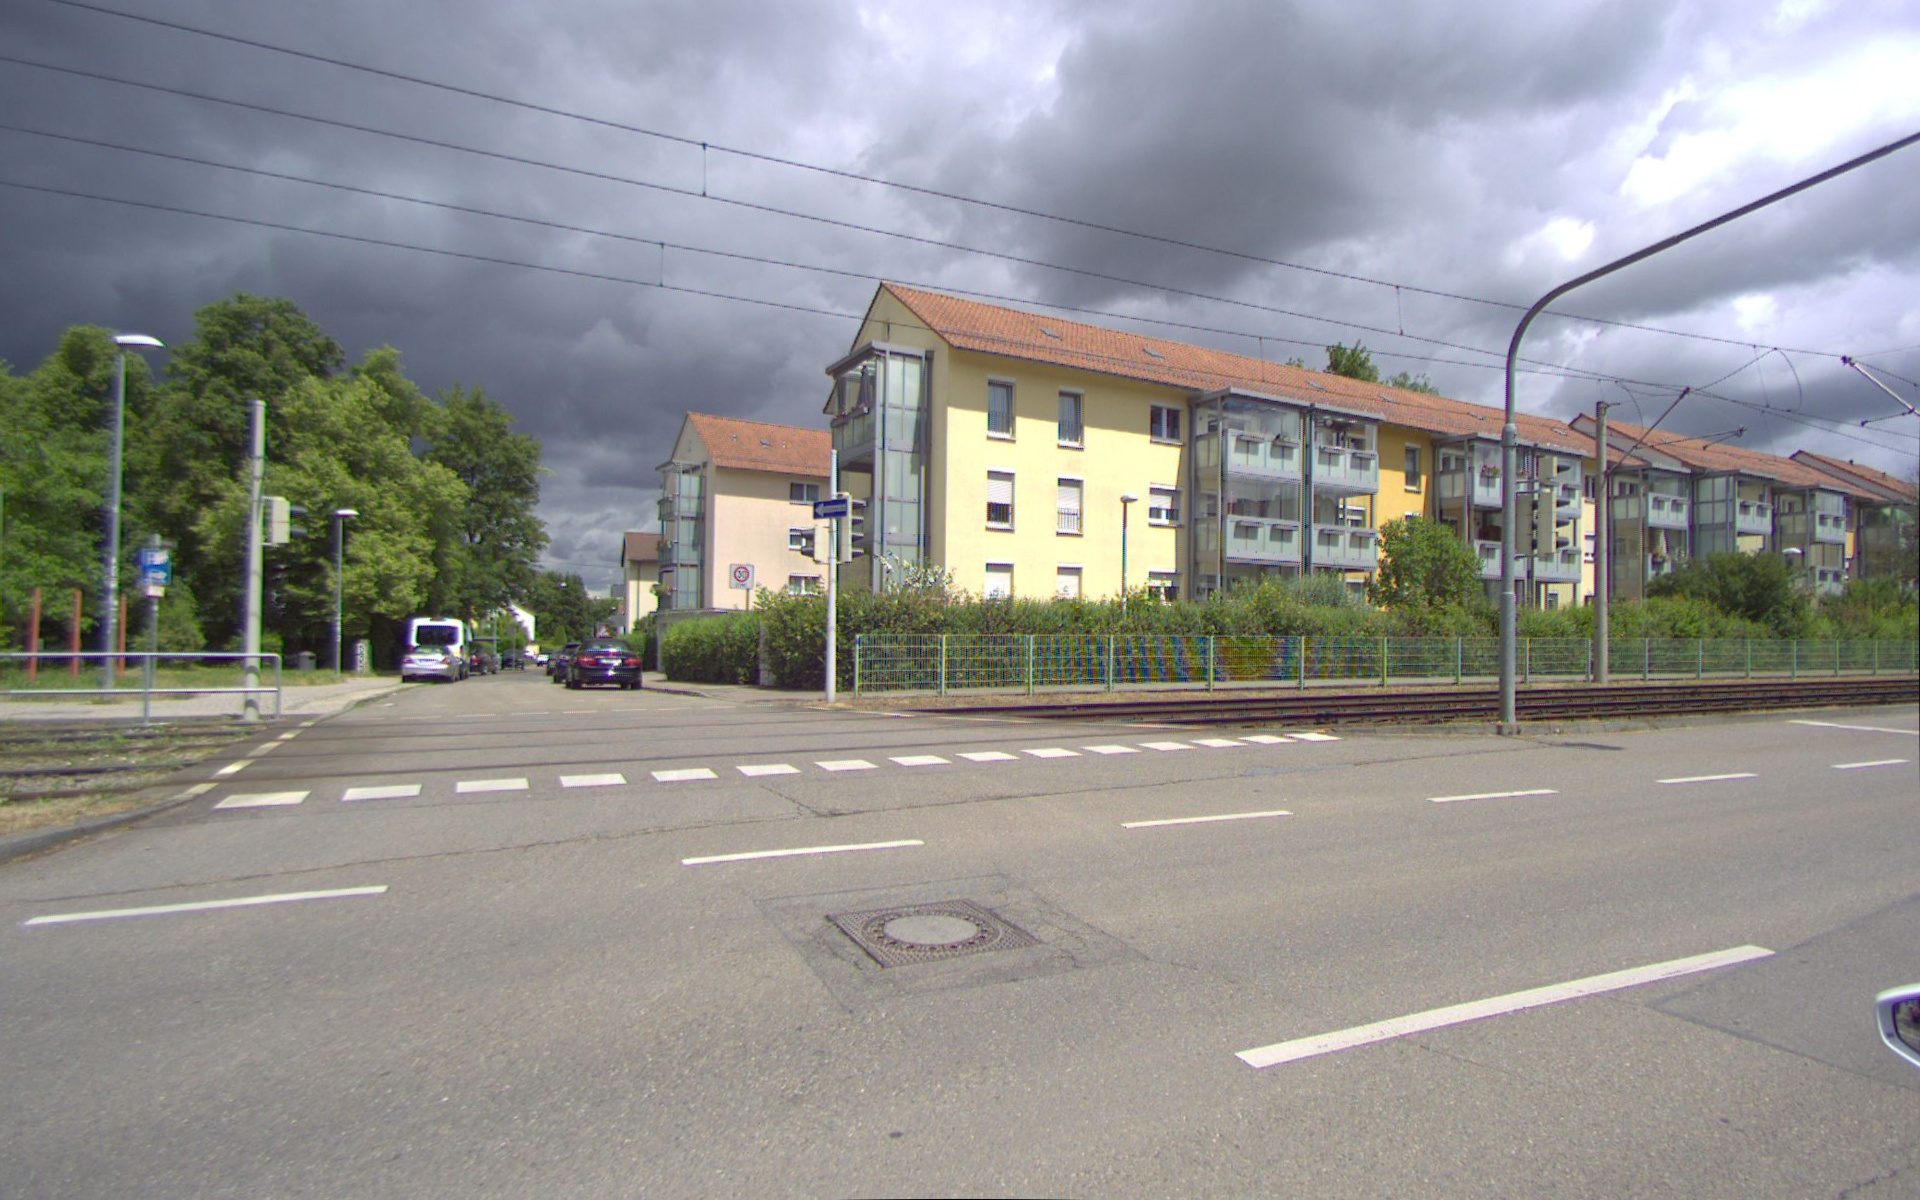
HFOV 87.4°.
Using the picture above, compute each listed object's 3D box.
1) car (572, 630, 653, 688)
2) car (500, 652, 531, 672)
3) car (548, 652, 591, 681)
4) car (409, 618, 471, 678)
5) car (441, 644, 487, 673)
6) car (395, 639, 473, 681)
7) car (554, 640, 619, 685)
[{"bbox_3d":[-9.721,1.711,28.204,1.969,1.485,3.986,1,-5,-18],"label":"car"},{"bbox_3d":[-34.462,4.847,77.975,1.971,1.485,3.982,2,-5,-22],"label":"car"},{"bbox_3d":[-20.783,3.565,53.390,1.972,1.485,3.979,2,-5,-23],"label":"car"},{"bbox_3d":[-22.007,2.108,42.675,1.972,2.387,3.979,2,-5,-23],"label":"car"},{"bbox_3d":[-26.857,3.215,54.466,1.972,1.485,3.979,2,-5,-23],"label":"car"},{"bbox_3d":[-19.974,2.337,38.321,1.969,1.485,3.986,1,-5,-18],"label":"car"},{"bbox_3d":[-13.238,2.267,35.789,1.969,1.485,3.986,1,-5,-18],"label":"car"}]
